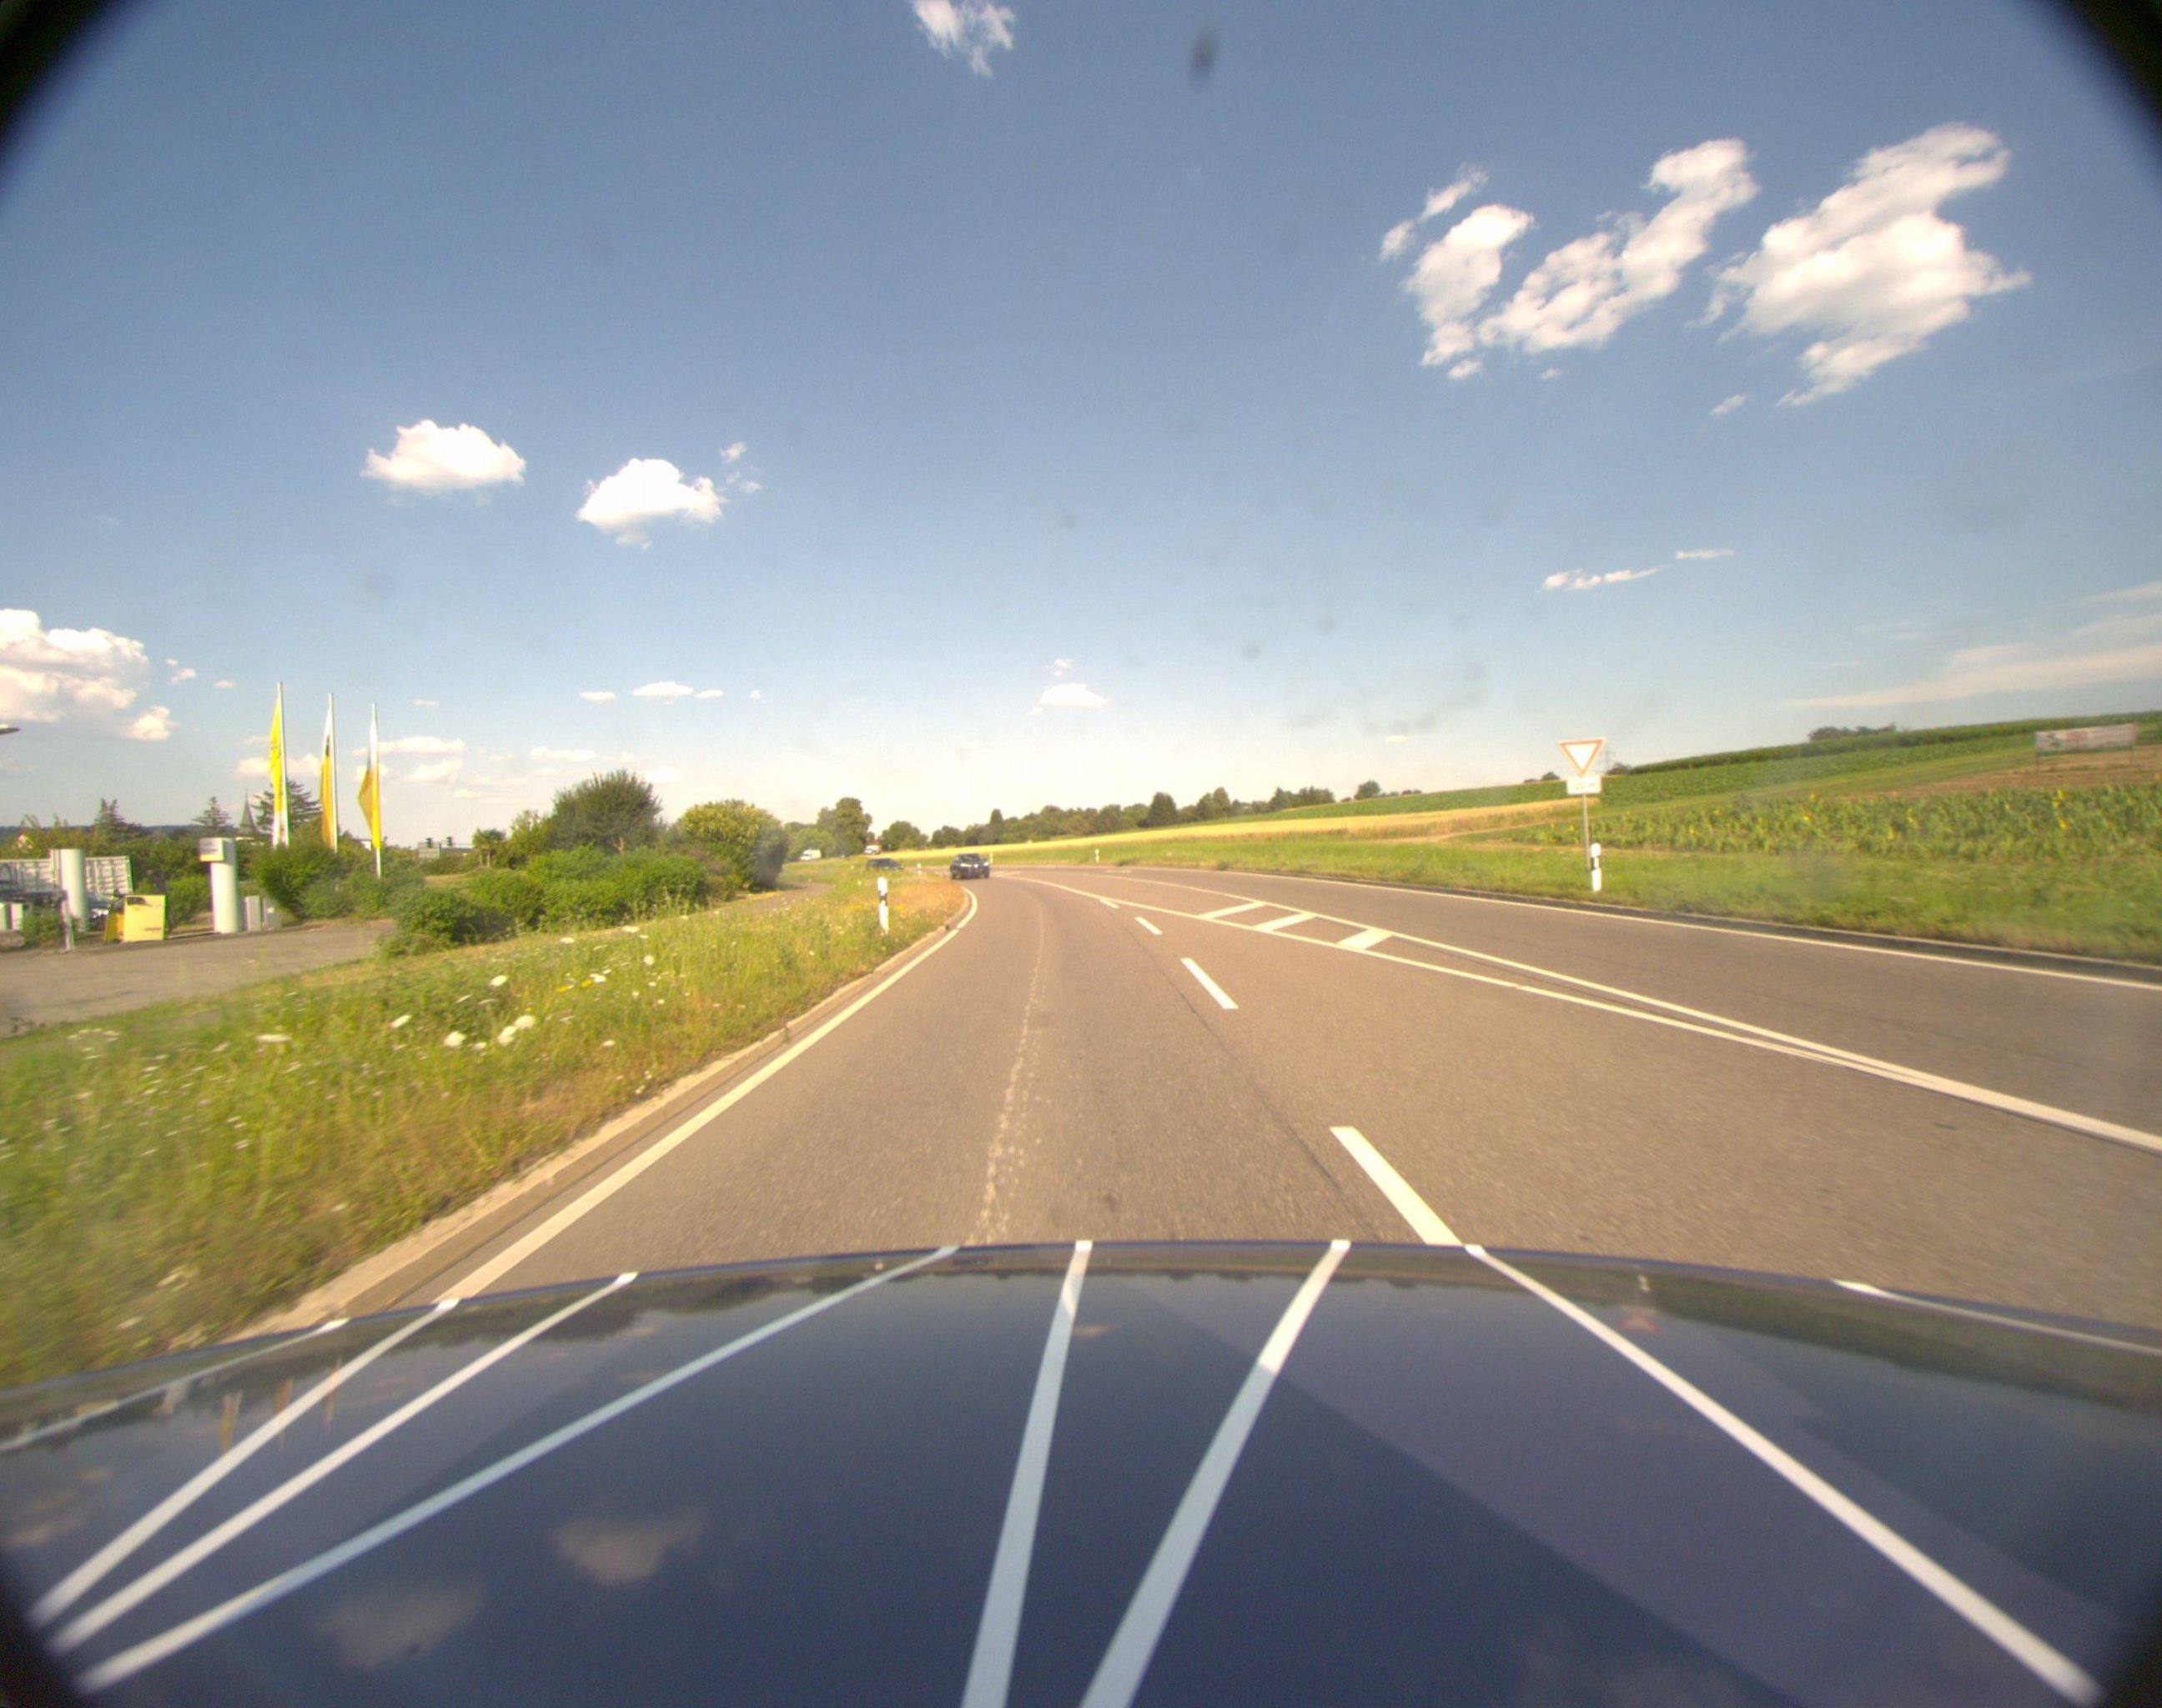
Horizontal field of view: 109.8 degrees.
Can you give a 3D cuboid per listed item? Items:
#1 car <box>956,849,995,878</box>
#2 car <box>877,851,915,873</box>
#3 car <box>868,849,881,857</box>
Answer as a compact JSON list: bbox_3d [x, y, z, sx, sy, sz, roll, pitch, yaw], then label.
[{"bbox_3d":[-6.746,0.544,48.175,1.790,1.620,4.462,-5,2,-14],"label":"car"},{"bbox_3d":[-15.597,0.666,63.827,1.778,1.604,4.537,-5,2,-30],"label":"car"},{"bbox_3d":[-58.212,-0.195,214.292,1.997,2.002,4.002,-4,1,12],"label":"car"}]
